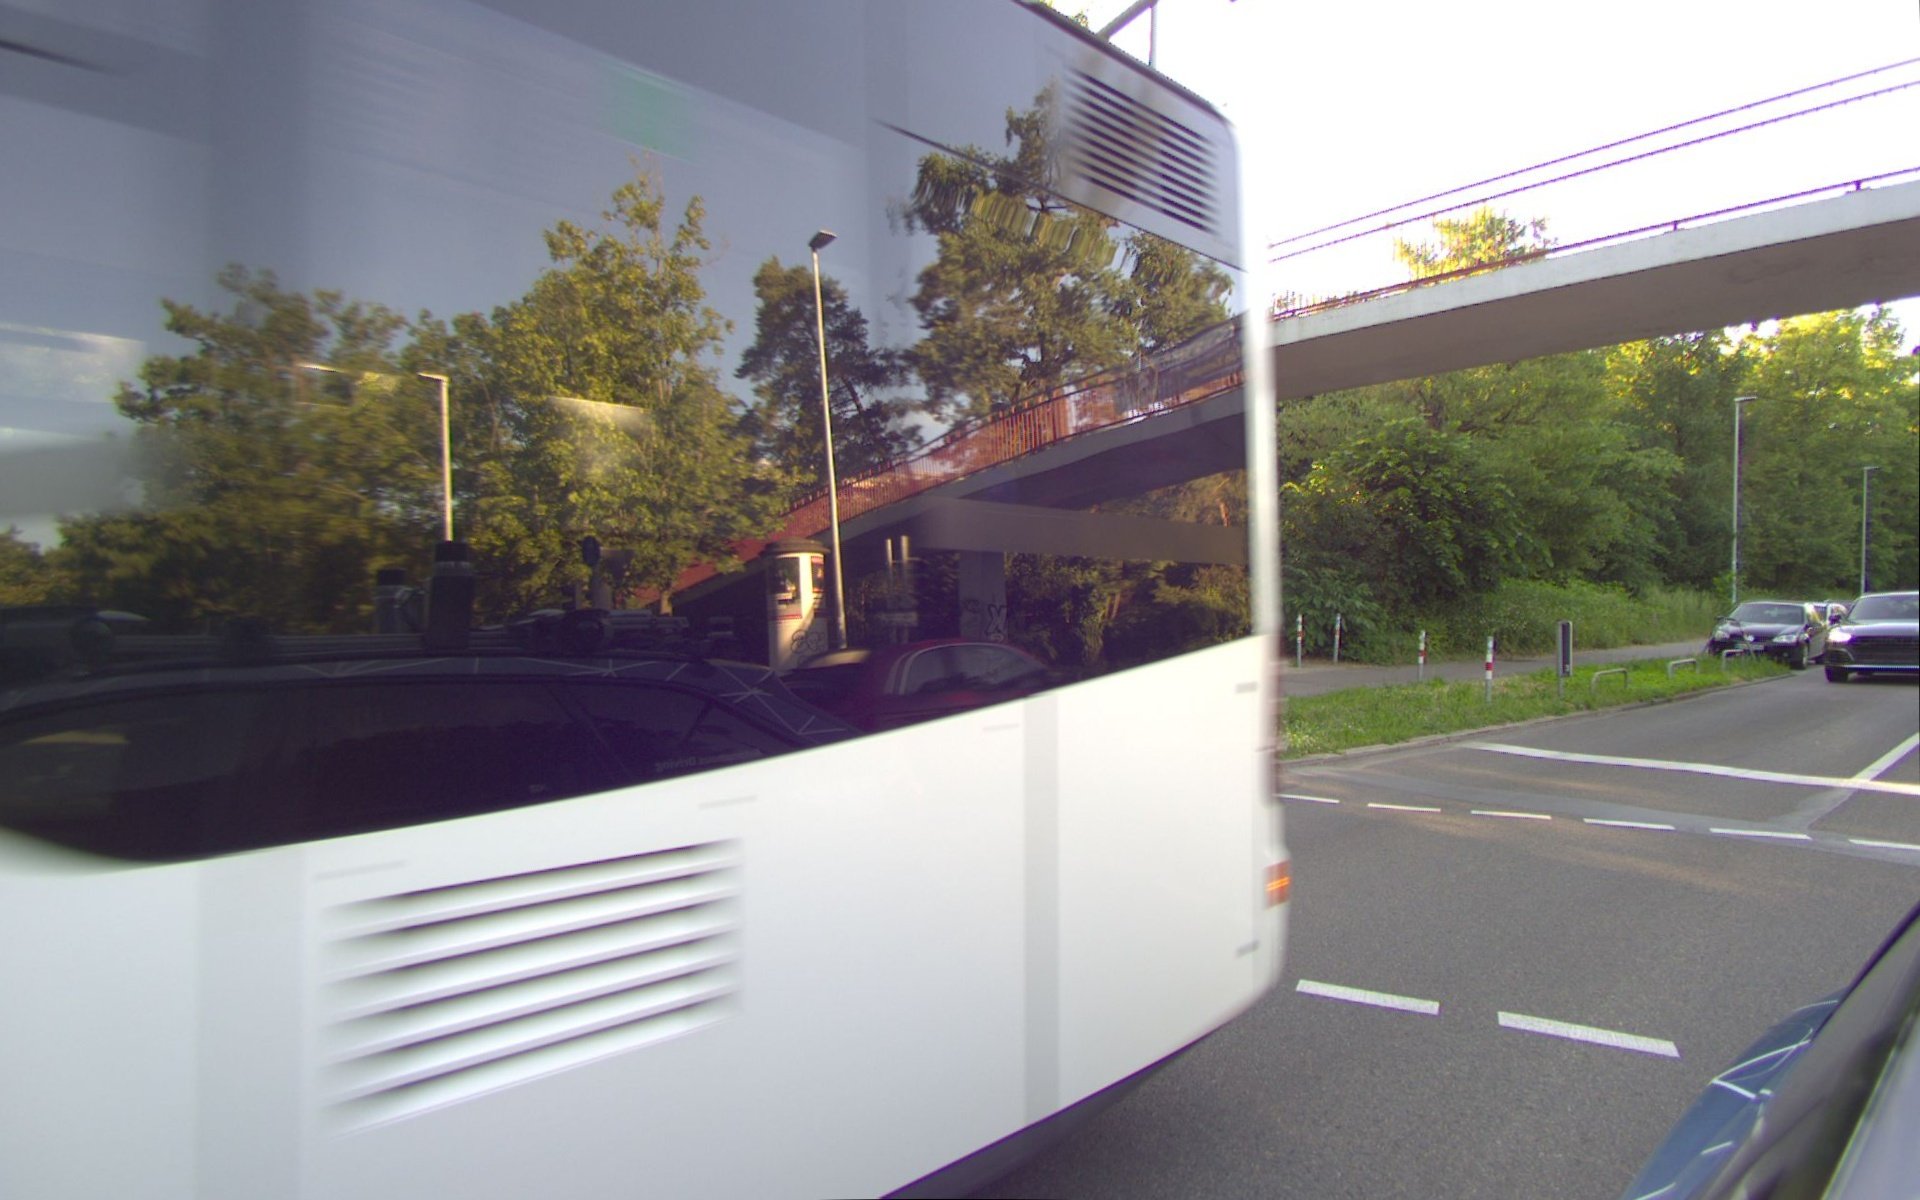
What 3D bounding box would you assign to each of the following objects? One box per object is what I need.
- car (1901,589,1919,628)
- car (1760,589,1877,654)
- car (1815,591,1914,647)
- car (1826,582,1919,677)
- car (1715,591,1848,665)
[{"bbox_3d":[40.019,0.327,41.442,4.319,1.526,1.736,0,2,-41],"label":"car"},{"bbox_3d":[22.433,0.507,26.402,3.906,1.526,1.719,0,2,-41],"label":"car"},{"bbox_3d":[27.606,0.523,30.841,4.081,1.526,1.736,0,2,-41],"label":"car"},{"bbox_3d":[17.867,0.494,18.830,4.286,1.628,1.991,-1,-2,-41],"label":"car"},{"bbox_3d":[18.923,0.571,23.252,4.054,1.527,1.693,0,1,-41],"label":"car"}]
